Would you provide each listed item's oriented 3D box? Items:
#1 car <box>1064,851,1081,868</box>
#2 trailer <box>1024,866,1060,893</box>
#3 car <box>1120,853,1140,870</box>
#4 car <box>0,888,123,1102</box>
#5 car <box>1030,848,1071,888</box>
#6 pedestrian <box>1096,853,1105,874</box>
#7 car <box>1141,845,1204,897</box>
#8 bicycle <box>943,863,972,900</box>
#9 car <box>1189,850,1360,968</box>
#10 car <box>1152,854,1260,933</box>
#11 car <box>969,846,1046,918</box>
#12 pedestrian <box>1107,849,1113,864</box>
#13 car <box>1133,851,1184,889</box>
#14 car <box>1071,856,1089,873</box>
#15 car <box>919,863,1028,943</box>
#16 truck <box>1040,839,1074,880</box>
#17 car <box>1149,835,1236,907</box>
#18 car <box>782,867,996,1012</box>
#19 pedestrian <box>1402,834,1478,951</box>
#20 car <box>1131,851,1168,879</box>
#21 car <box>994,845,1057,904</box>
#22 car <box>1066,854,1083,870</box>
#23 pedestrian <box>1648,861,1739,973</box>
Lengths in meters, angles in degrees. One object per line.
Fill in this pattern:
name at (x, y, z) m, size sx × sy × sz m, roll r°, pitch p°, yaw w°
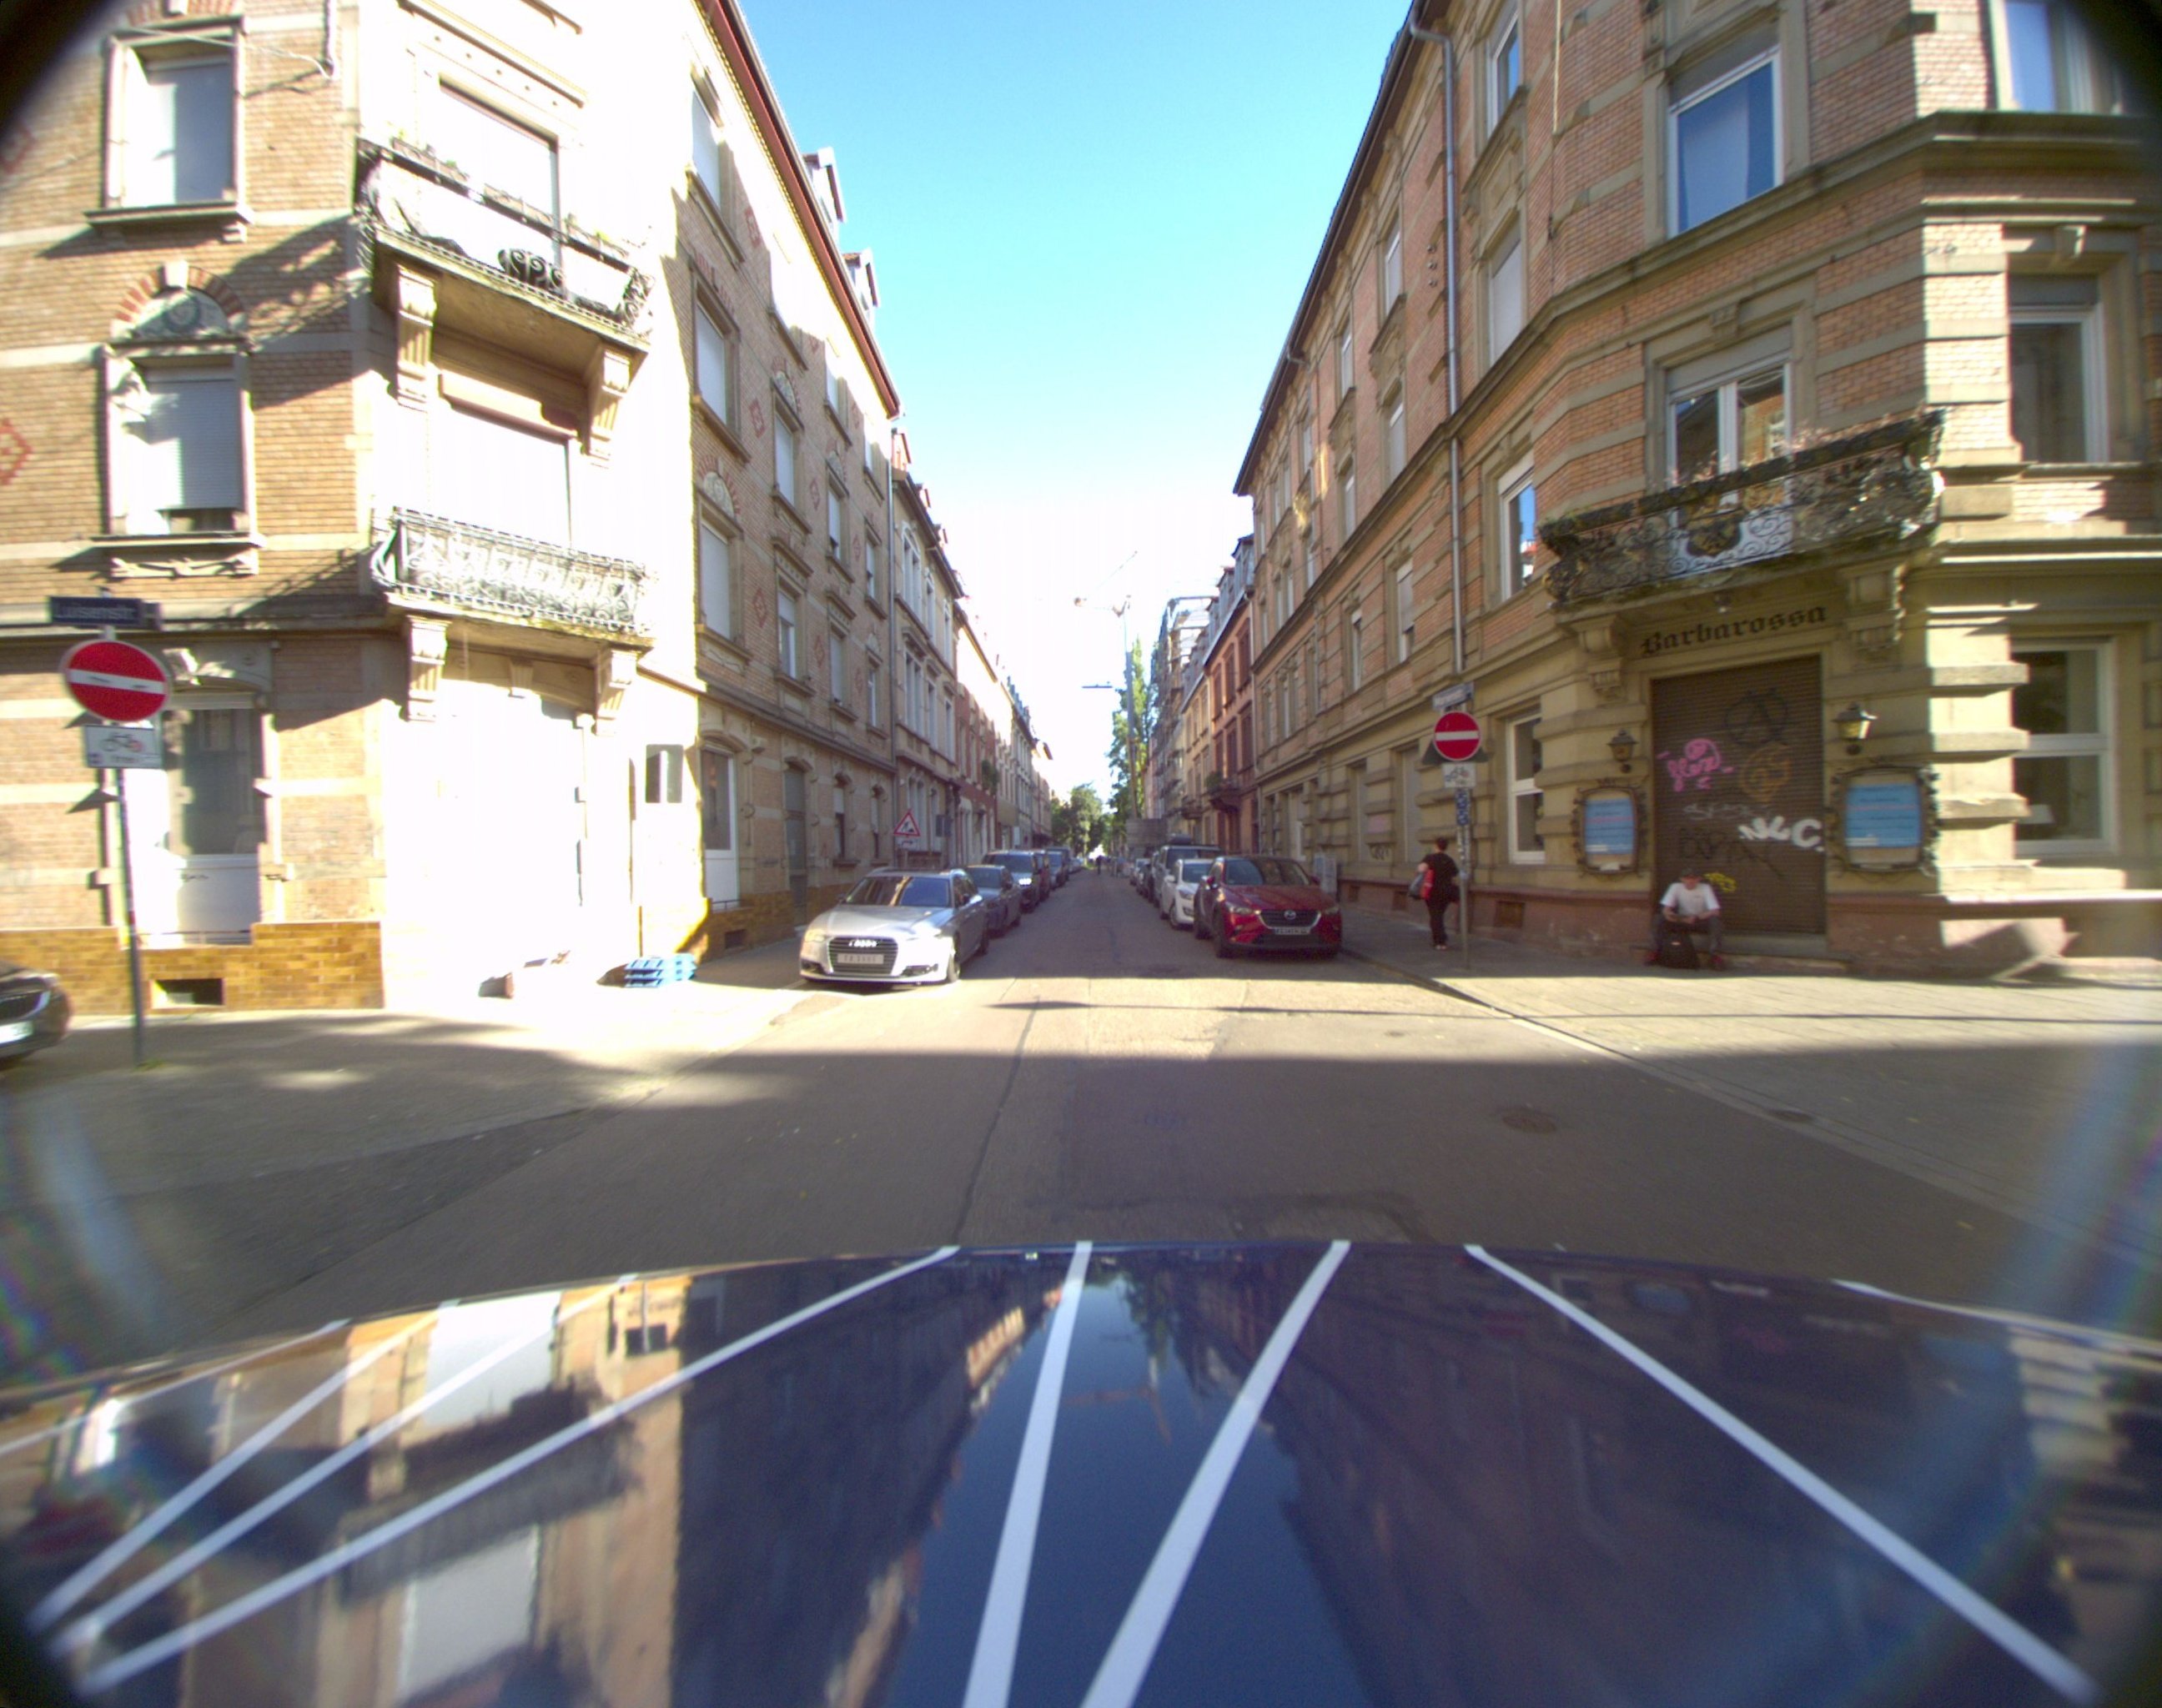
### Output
car at (-0.860, 0.589, 79.946) m, size 1.603 × 1.652 × 4.060 m, roll -4°, pitch 0°, yaw 2°
trailer at (-1.891, 1.232, 37.239) m, size 1.508 × 1.106 × 3.039 m, roll -5°, pitch 0°, yaw 0°
car at (4.678, 0.698, 73.425) m, size 1.771 × 1.500 × 4.696 m, roll -1°, pitch 0°, yaw 2°
car at (-9.848, 1.099, 5.068) m, size 4.253 × 1.463 × 1.767 m, roll -1°, pitch 3°, yaw -5°
car at (-1.620, 0.703, 42.038) m, size 1.849 × 1.972 × 4.576 m, roll -4°, pitch 0°, yaw 1°
pedestrian at (1.719, 0.834, 66.212) m, size 0.740 × 1.743 × 0.997 m, roll -2°, pitch 1°, yaw 2°
car at (3.161, 0.531, 27.034) m, size 1.792 × 1.615 × 4.608 m, roll -3°, pitch 0°, yaw 2°
bicycle at (-4.577, 0.988, 28.331) m, size 0.728 × 1.296 × 1.692 m, roll 1°, pitch 1°, yaw 2°
car at (2.849, 0.715, 12.120) m, size 1.727 × 1.472 × 4.089 m, roll -3°, pitch 0°, yaw 2°
car at (2.608, 0.766, 16.711) m, size 1.678 × 1.412 × 3.874 m, roll -3°, pitch 0°, yaw 0°
car at (-2.193, 0.782, 23.702) m, size 1.774 × 1.949 × 4.264 m, roll -3°, pitch 0°, yaw 2°
pedestrian at (3.188, 0.316, 83.608) m, size 0.594 × 1.634 × 0.813 m, roll 0°, pitch 1°, yaw 1°
car at (3.170, 0.630, 31.802) m, size 1.703 × 1.306 × 4.000 m, roll -5°, pitch 1°, yaw 2°
car at (-0.085, 1.009, 74.922) m, size 1.525 × 1.525 × 3.463 m, roll 4°, pitch 0°, yaw 2°
car at (-2.215, 0.974, 16.643) m, size 1.670 × 1.470 × 3.888 m, roll -2°, pitch 0°, yaw 2°
truck at (-1.642, 0.342, 53.028) m, size 2.154 × 2.642 × 6.252 m, roll 2°, pitch 0°, yaw -1°
car at (3.108, 0.425, 21.996) m, size 1.897 × 1.774 × 4.608 m, roll -3°, pitch 0°, yaw 2°
car at (-2.426, 1.008, 10.859) m, size 1.710 × 1.450 × 4.511 m, roll -3°, pitch 0°, yaw 2°
pedestrian at (5.092, 0.529, 10.810) m, size 0.668 × 1.571 × 0.760 m, roll -3°, pitch 1°, yaw 0°
car at (3.622, 0.570, 40.864) m, size 1.678 × 1.410 × 4.000 m, roll 0°, pitch 0°, yaw 1°
car at (-2.069, 0.721, 29.592) m, size 1.836 × 2.002 × 4.742 m, roll -3°, pitch 0°, yaw 2°
car at (-0.693, 0.880, 85.527) m, size 1.603 × 1.626 × 3.775 m, roll -4°, pitch 0°, yaw 2°
pedestrian at (6.874, 0.684, 8.559) m, size 0.667 × 1.170 × 0.749 m, roll -2°, pitch 1°, yaw 31°
